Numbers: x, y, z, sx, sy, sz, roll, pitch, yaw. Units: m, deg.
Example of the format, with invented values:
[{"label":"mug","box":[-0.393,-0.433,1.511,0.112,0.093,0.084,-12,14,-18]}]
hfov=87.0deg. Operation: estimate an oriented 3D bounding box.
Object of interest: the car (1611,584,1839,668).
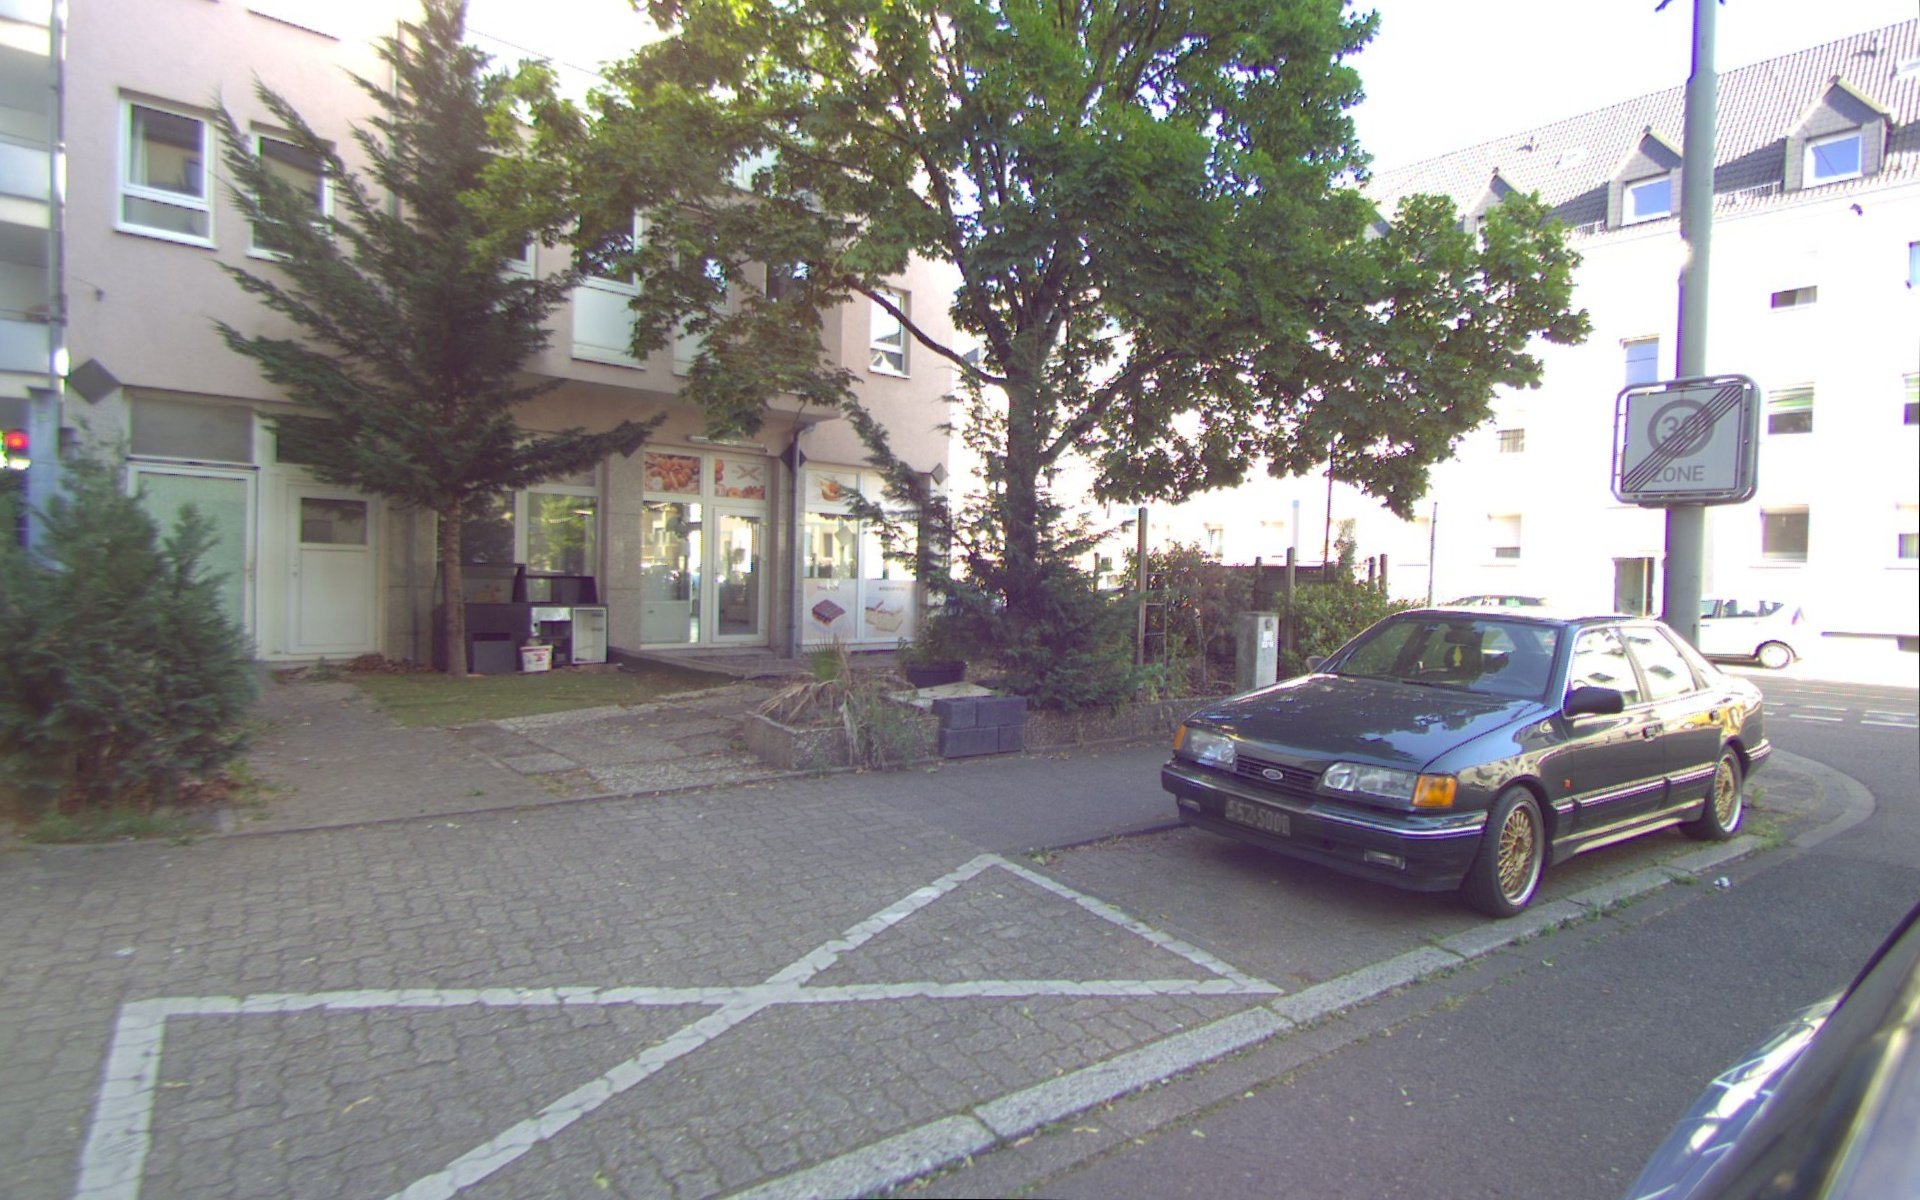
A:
[{"label":"car","box":[17.509,0.513,23.303,1.730,1.589,3.899,-4,5,-40]}]

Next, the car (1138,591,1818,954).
[{"label":"car","box":[3.303,0.688,6.091,4.483,1.405,1.714,0,3,-35]}]
